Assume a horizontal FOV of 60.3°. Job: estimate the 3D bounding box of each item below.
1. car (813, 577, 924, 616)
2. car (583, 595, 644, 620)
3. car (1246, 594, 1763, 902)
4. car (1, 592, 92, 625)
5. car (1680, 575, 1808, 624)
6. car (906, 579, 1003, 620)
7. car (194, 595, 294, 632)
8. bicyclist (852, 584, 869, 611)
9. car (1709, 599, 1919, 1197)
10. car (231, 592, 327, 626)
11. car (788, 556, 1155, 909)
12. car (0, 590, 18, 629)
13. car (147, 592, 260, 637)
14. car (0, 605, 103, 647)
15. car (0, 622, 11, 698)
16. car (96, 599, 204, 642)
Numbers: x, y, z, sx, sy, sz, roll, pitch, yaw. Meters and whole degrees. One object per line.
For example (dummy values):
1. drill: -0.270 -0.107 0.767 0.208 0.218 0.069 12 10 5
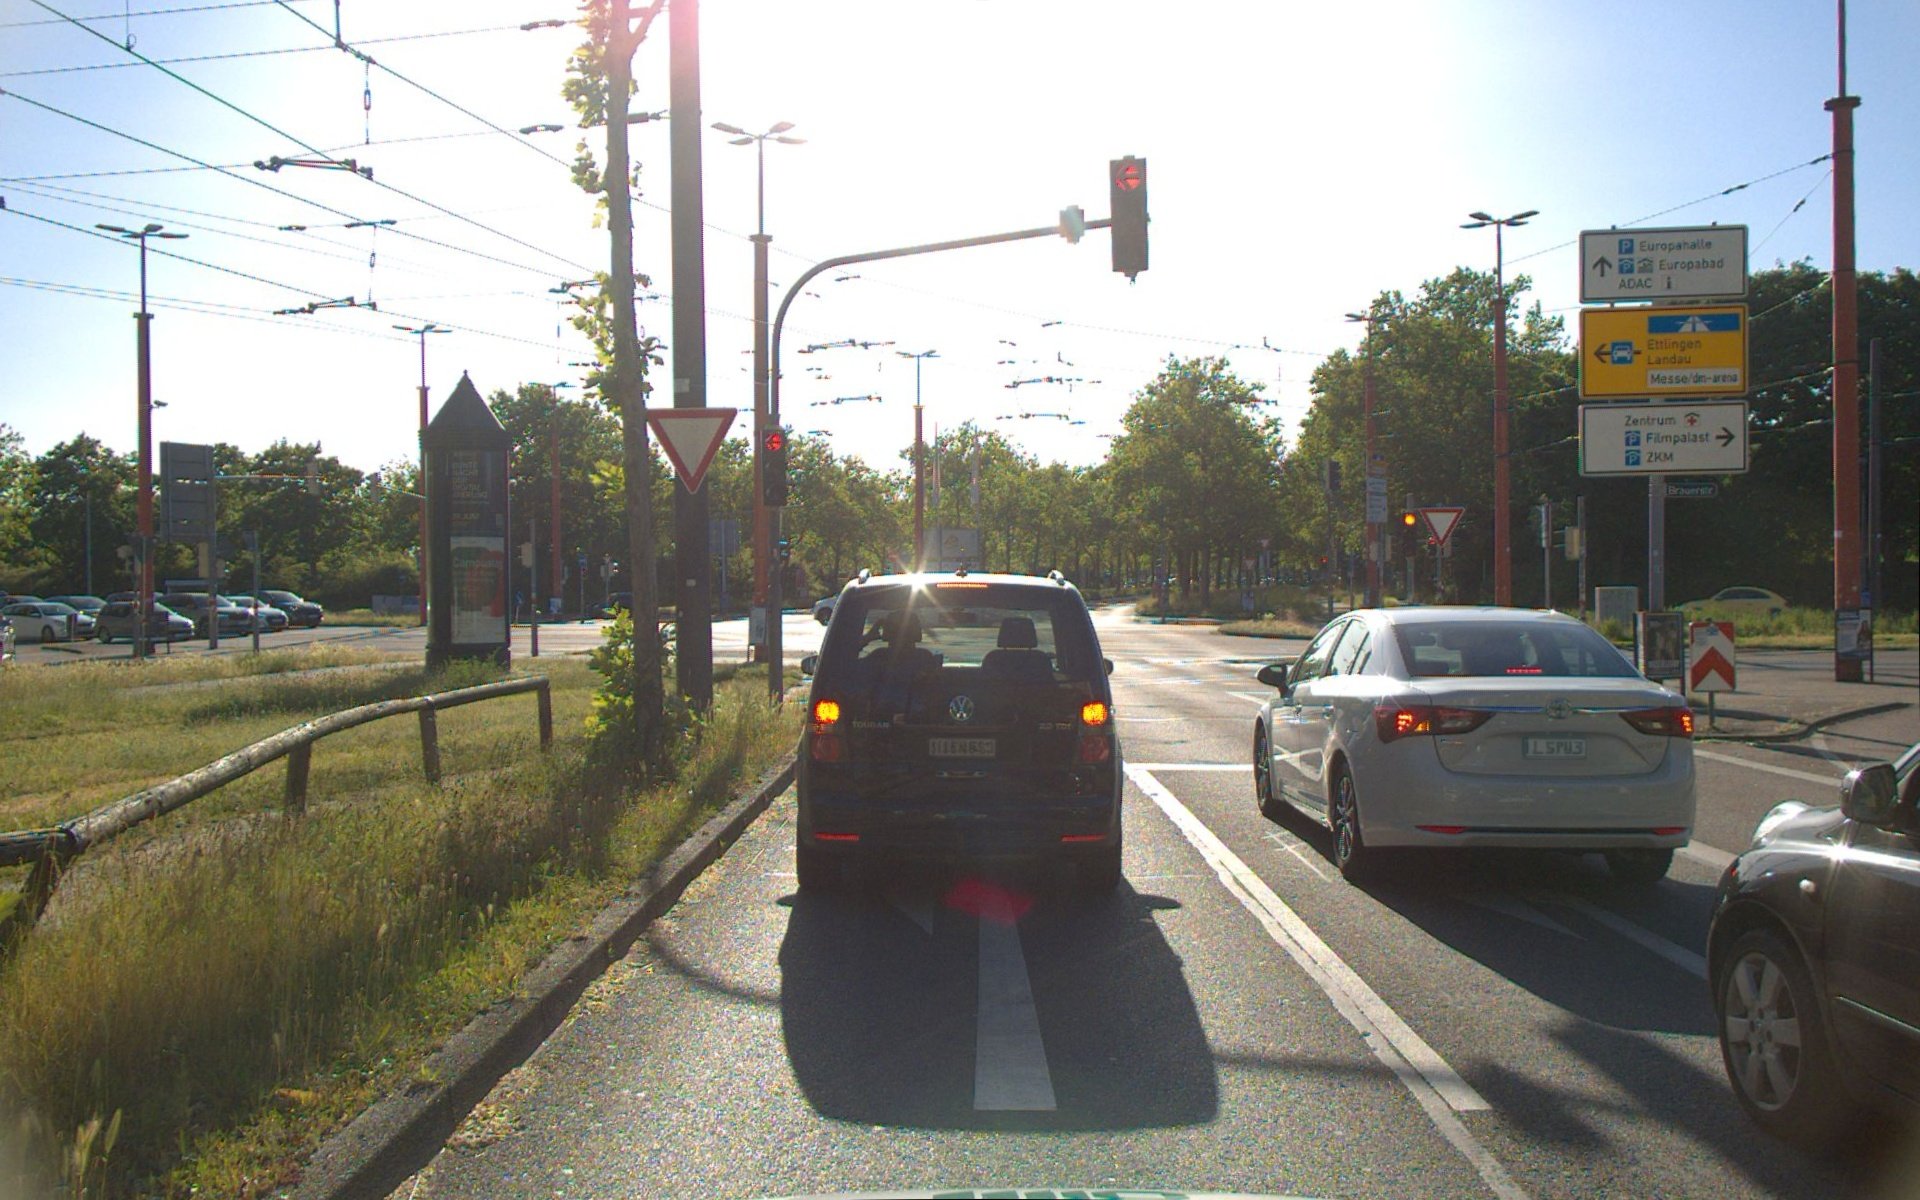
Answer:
1. car: -3.984 -0.148 71.894 4.568 1.654 1.655 0 0 26
2. car: -20.644 0.429 98.717 1.617 1.427 4.133 0 0 20
3. car: 3.017 0.727 10.180 1.762 1.465 4.326 1 0 0
4. car: -40.868 0.369 73.991 4.060 1.440 1.542 0 0 26
5. car: 28.286 -0.045 59.725 4.120 1.710 1.655 0 0 26
6. car: -0.252 -0.043 74.018 4.036 1.780 1.656 0 0 24
7. car: -29.402 0.531 67.922 4.060 1.440 1.542 0 0 26
8. bicyclist: -7.233 -0.166 120.247 0.955 1.937 1.051 0 0 12
9. car: 3.138 0.740 3.483 1.544 1.465 3.441 1 0 0
10. car: -29.465 0.372 71.545 4.060 1.440 1.542 0 0 26
11. car: 0.069 0.634 9.958 1.703 1.630 4.326 1 0 0
12. car: -42.982 0.384 71.631 4.541 1.676 1.753 0 0 30
13. car: -29.315 0.540 64.087 4.541 1.676 1.654 0 0 30
14. car: -34.935 0.970 63.249 4.536 1.546 1.654 0 0 30
15. car: -22.896 1.373 37.981 1.631 1.647 4.258 0 0 -26
16. car: -29.541 0.731 60.296 3.755 1.466 1.655 0 0 27
